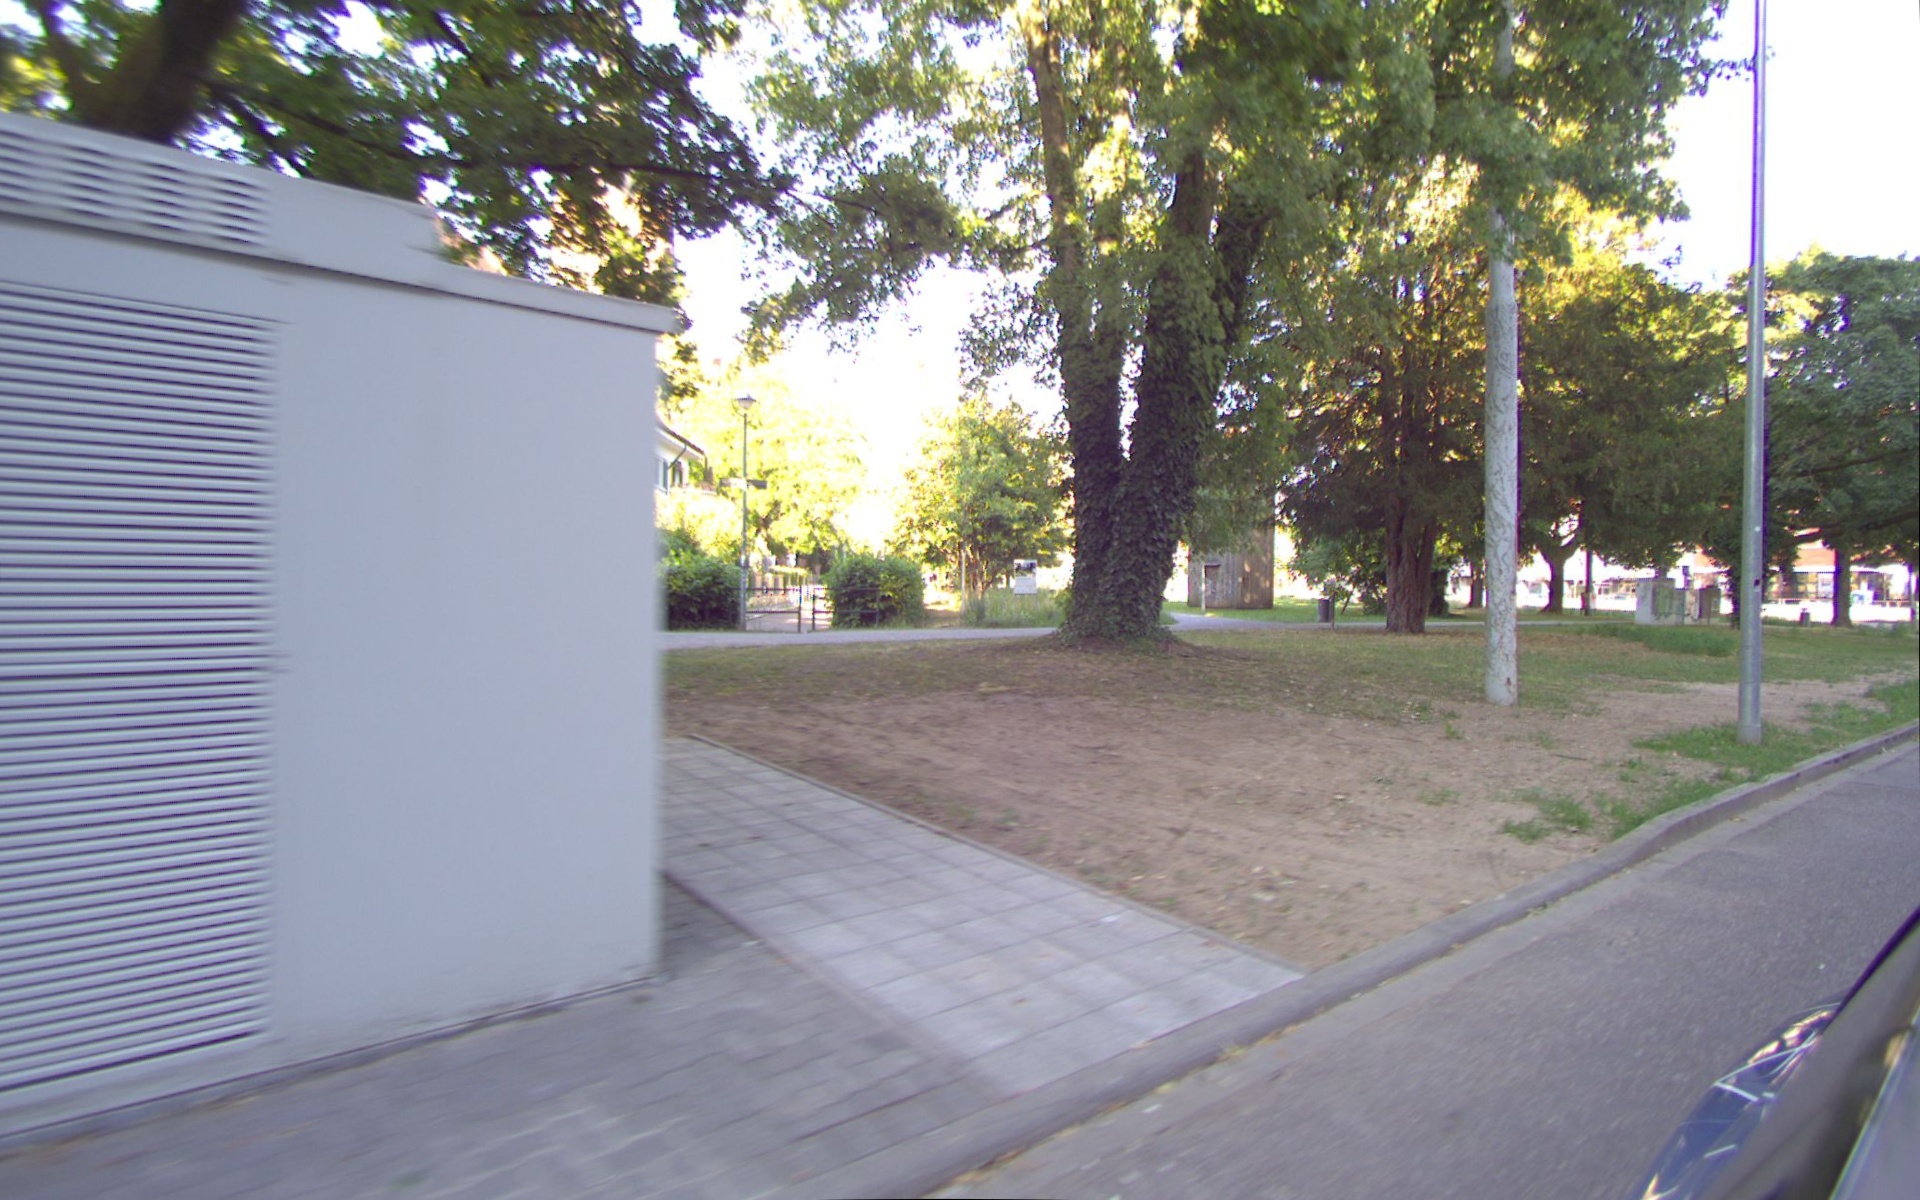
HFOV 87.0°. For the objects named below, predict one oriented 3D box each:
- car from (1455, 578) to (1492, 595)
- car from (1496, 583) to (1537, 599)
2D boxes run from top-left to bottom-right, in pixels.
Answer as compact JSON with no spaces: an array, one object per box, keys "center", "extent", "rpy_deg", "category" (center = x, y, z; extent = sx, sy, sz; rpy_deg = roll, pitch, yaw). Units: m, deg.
[{"center":[64.814,-1.688,127.823],"extent":[1.960,2.038,4.780],"rpy_deg":[1,2,-4],"category":"car"},{"center":[65.325,-1.060,118.969],"extent":[1.961,1.819,4.897],"rpy_deg":[1,1,-2],"category":"car"}]
